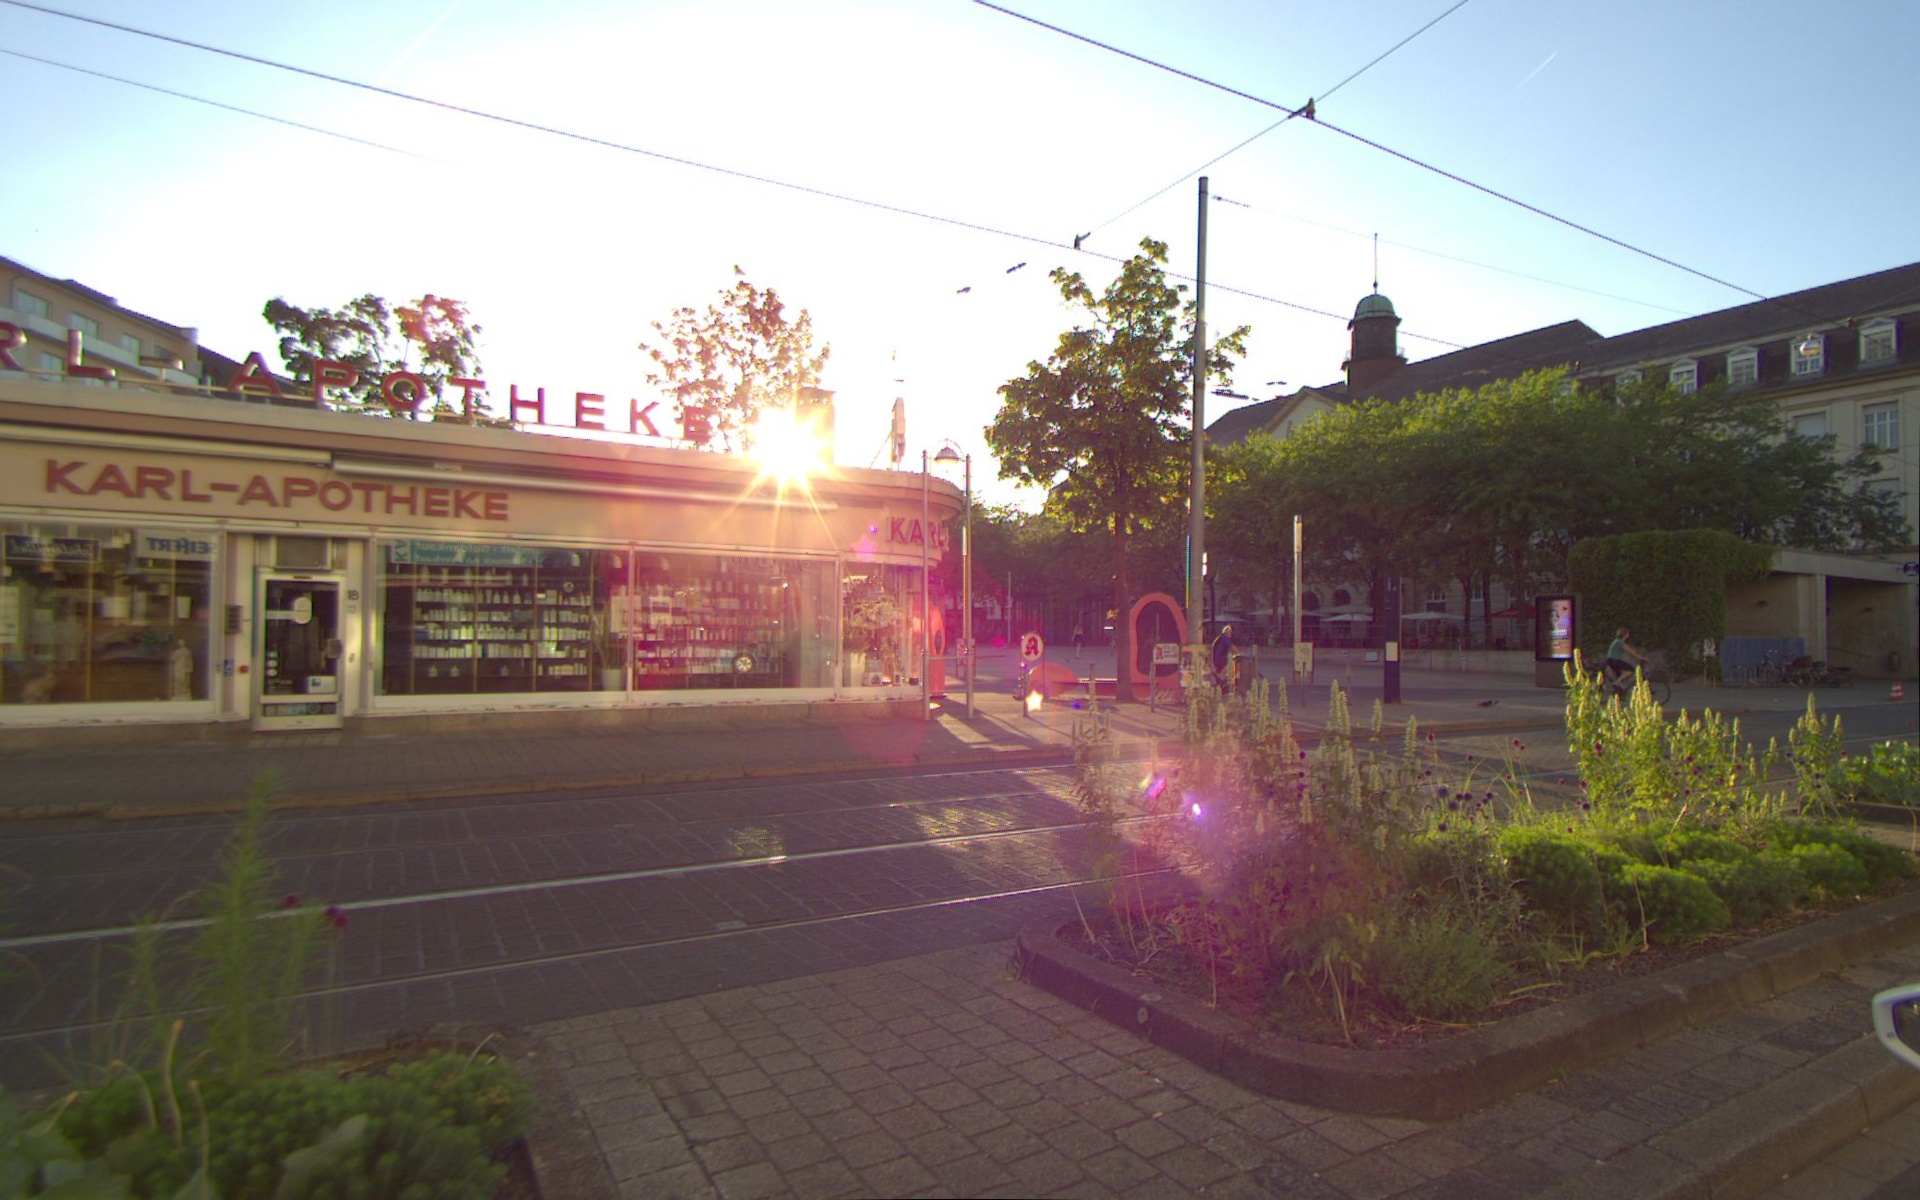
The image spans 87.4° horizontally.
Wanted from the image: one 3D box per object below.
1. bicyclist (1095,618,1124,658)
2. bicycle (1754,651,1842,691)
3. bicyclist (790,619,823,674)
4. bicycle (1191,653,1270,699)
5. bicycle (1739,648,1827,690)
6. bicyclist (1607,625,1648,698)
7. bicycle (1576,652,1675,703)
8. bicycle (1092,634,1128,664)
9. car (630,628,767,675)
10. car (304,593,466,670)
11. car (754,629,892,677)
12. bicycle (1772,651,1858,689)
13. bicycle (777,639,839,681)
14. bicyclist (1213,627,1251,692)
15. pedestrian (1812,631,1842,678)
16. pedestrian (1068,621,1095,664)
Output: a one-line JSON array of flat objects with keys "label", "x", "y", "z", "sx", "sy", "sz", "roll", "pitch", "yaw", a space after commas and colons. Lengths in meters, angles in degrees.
[{"label": "bicyclist", "x": 7.894, "y": 2.020, "z": 53.000, "sx": 1.130, "sy": 2.044, "sz": 0.954, "roll": 3, "pitch": -3, "yaw": -31}, {"label": "bicycle", "x": 28.378, "y": 2.385, "z": 34.061, "sx": 0.573, "sy": 1.271, "sz": 2.231, "roll": 3, "pitch": -3, "yaw": -29}, {"label": "bicyclist", "x": -4.504, "y": 1.367, "z": 29.515, "sx": 0.688, "sy": 1.597, "sz": 0.755, "roll": 1, "pitch": -3, "yaw": 12}, {"label": "bicycle", "x": 6.847, "y": 1.921, "z": 25.462, "sx": 1.893, "sy": 1.126, "sz": 0.460, "roll": -1, "pitch": -3, "yaw": 29}, {"label": "bicycle", "x": 27.145, "y": 2.272, "z": 33.182, "sx": 0.573, "sy": 1.317, "sz": 2.187, "roll": 3, "pitch": -3, "yaw": -29}, {"label": "bicyclist", "x": 15.827, "y": 1.447, "z": 23.836, "sx": 0.691, "sy": 1.690, "sz": 0.628, "roll": 1, "pitch": -3, "yaw": 21}, {"label": "bicycle", "x": 15.772, "y": 1.834, "z": 23.853, "sx": 1.898, "sy": 1.126, "sz": 0.461, "roll": 1, "pitch": -3, "yaw": 20}, {"label": "bicycle", "x": 7.882, "y": 2.569, "z": 52.919, "sx": 0.573, "sy": 1.495, "sz": 2.230, "roll": 2, "pitch": -3, "yaw": -31}, {"label": "car", "x": -8.910, "y": 1.778, "z": 34.326, "sx": 4.201, "sy": 1.427, "sz": 1.648, "roll": 4, "pitch": -3, "yaw": -30}, {"label": "car", "x": -16.894, "y": 0.965, "z": 29.677, "sx": 3.954, "sy": 2.040, "sz": 1.984, "roll": 4, "pitch": -3, "yaw": -30}, {"label": "car", "x": -4.981, "y": 1.953, "z": 36.724, "sx": 4.626, "sy": 1.585, "sz": 1.790, "roll": 4, "pitch": -3, "yaw": -30}, {"label": "bicycle", "x": 29.751, "y": 2.432, "z": 34.993, "sx": 0.578, "sy": 1.248, "sz": 2.231, "roll": 2, "pitch": -3, "yaw": -29}, {"label": "bicycle", "x": -4.457, "y": 1.761, "z": 29.478, "sx": 1.676, "sy": 1.126, "sz": 0.496, "roll": 3, "pitch": -2, "yaw": 12}, {"label": "bicyclist", "x": 6.894, "y": 1.503, "z": 25.454, "sx": 0.788, "sy": 1.632, "sz": 0.738, "roll": -1, "pitch": -3, "yaw": 29}, {"label": "pedestrian", "x": 36.479, "y": 2.286, "z": 42.276, "sx": 0.782, "sy": 1.959, "sz": 0.721, "roll": 3, "pitch": -3, "yaw": -27}, {"label": "pedestrian", "x": 6.042, "y": 2.106, "z": 49.992, "sx": 0.922, "sy": 2.088, "sz": 0.931, "roll": 1, "pitch": -1, "yaw": -35}]
